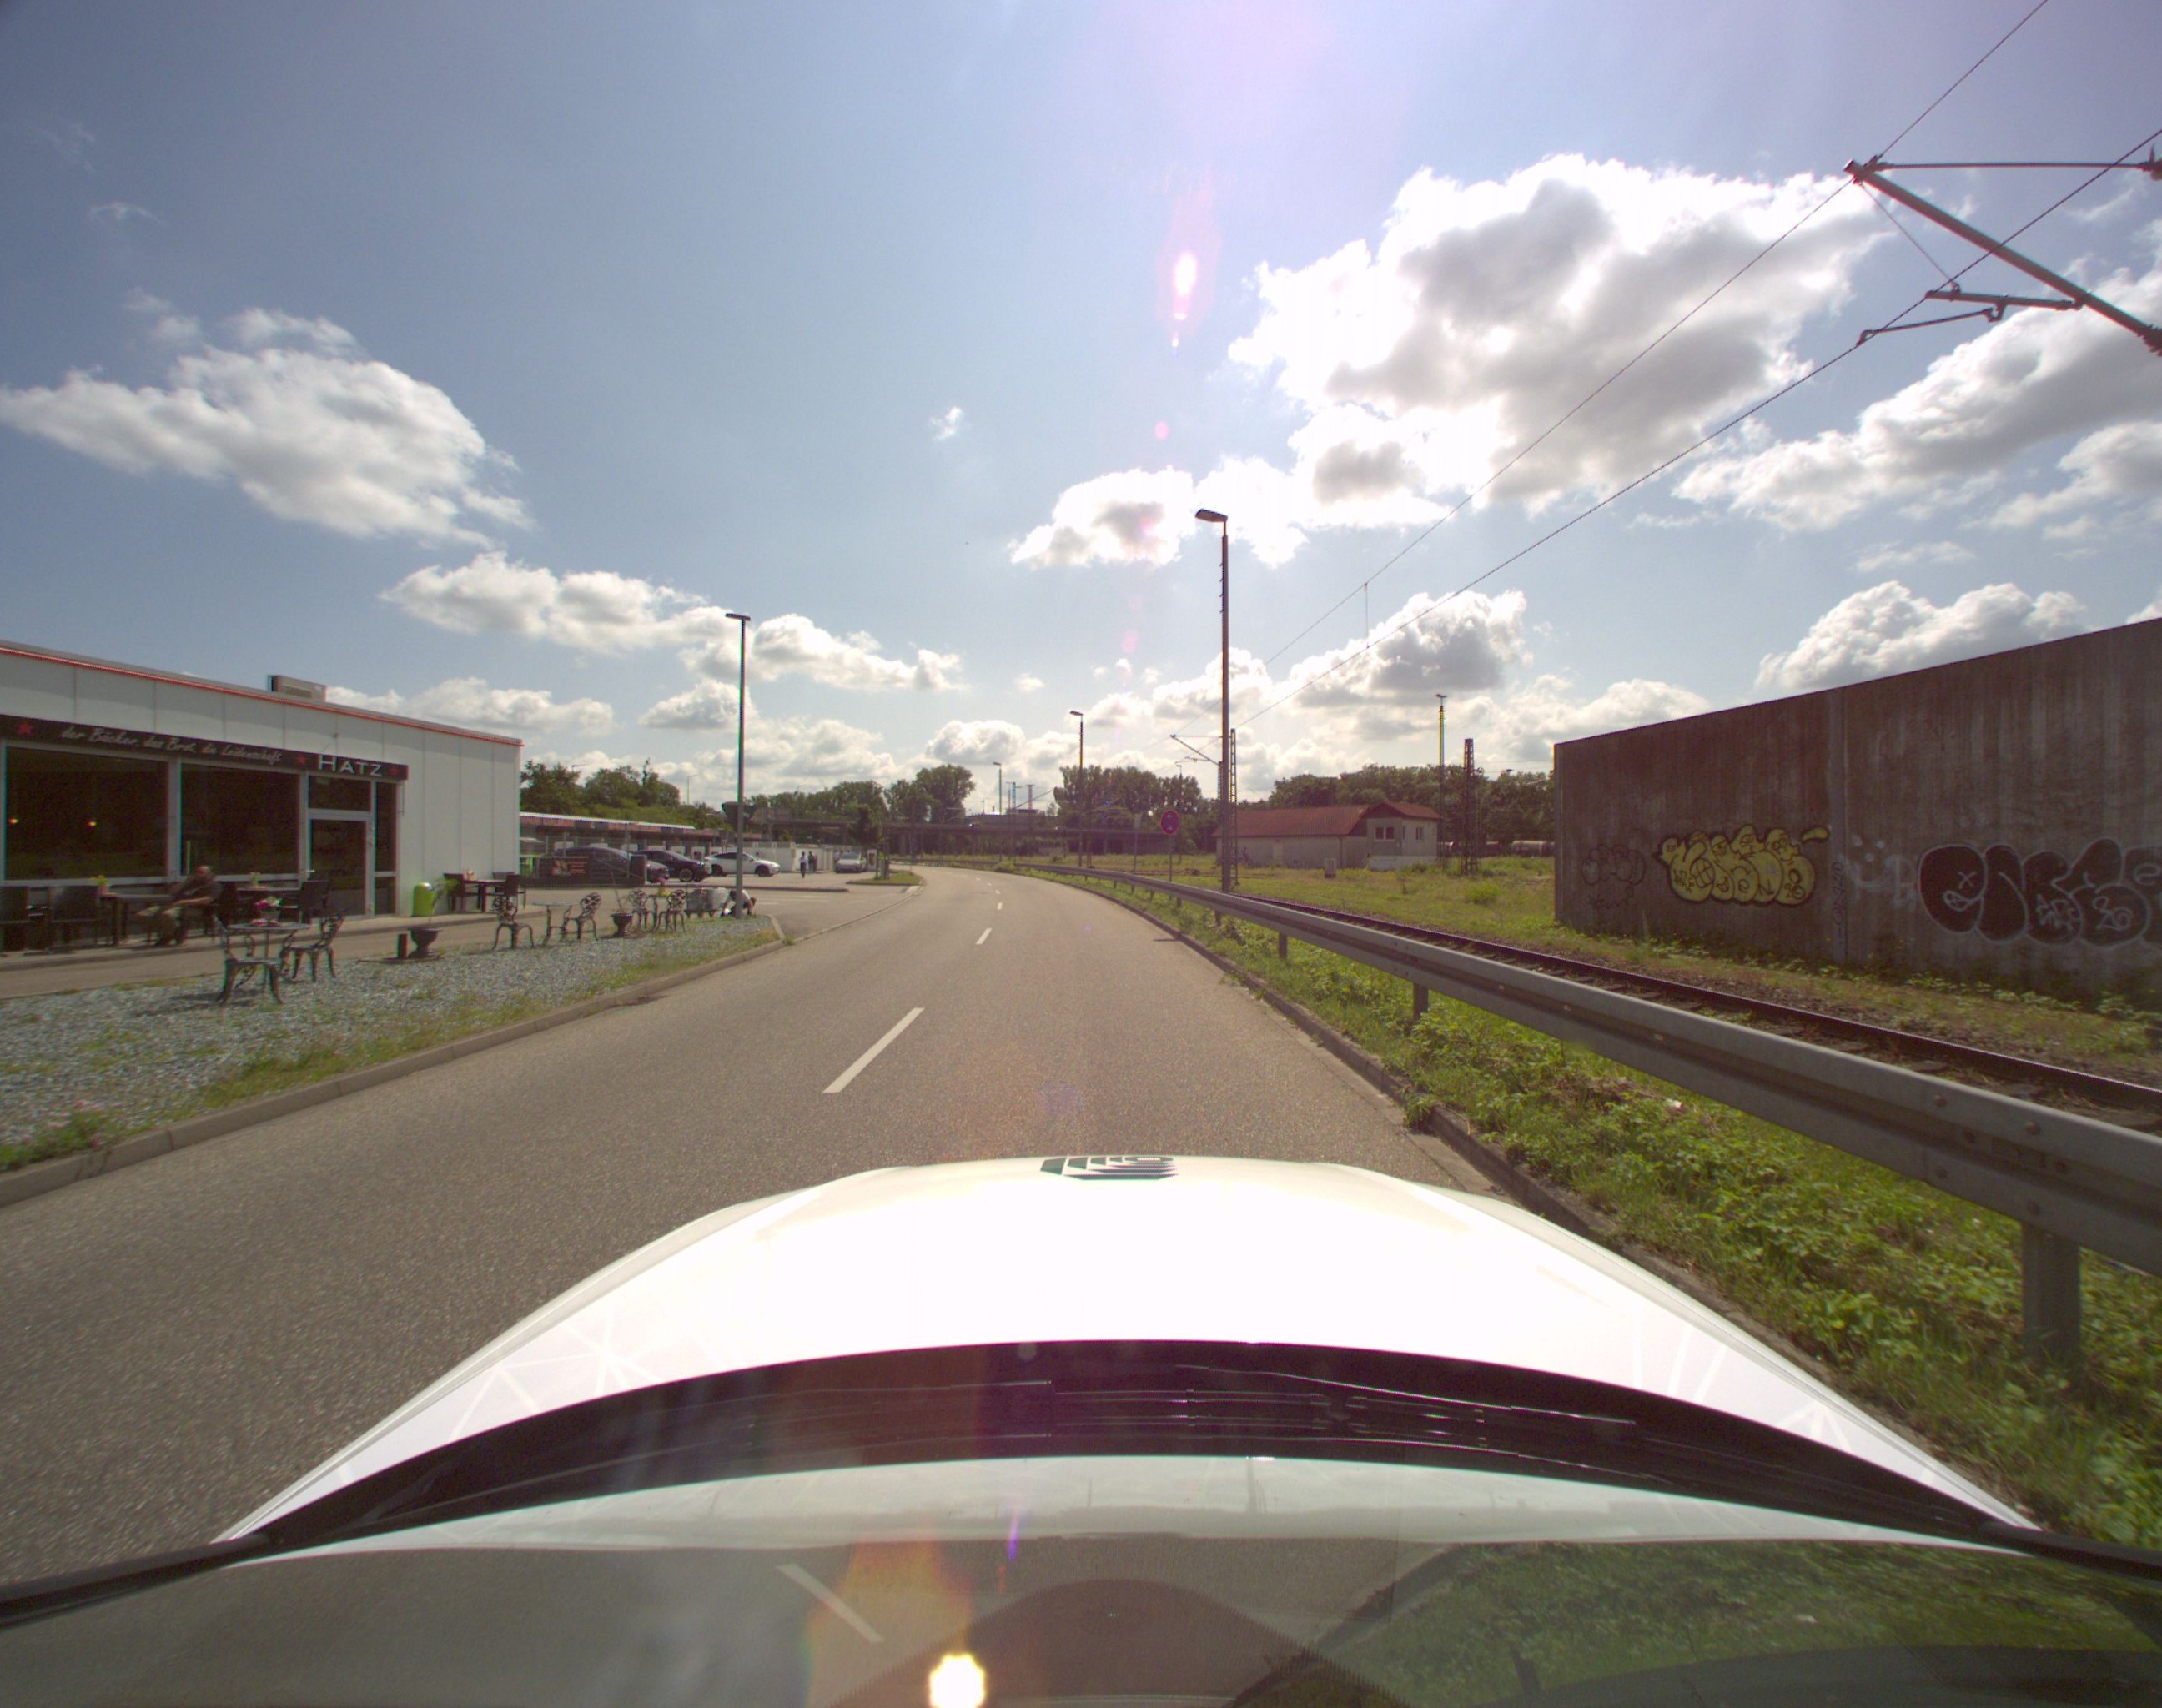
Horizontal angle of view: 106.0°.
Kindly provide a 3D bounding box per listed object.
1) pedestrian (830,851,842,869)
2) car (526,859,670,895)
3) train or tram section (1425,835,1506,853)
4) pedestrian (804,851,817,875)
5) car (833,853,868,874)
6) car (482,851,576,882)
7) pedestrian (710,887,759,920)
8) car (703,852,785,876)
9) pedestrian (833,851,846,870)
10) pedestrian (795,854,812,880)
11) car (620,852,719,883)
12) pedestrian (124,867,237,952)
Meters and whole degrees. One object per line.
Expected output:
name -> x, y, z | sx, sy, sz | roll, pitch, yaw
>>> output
pedestrian -> -20.742, 0.500, 68.973 | 0.749, 1.565, 0.718 | -1, -1, 39
car -> -20.428, 0.965, 34.659 | 4.745, 1.455, 2.230 | 0, 0, -10
train or tram section -> 73.109, -1.883, 155.307 | 13.763, 3.305, 3.053 | 1, 0, 42
pedestrian -> -20.226, 0.673, 60.858 | 0.863, 1.751, 0.724 | 0, -1, -15
car -> -18.528, 0.721, 65.738 | 1.928, 1.517, 4.765 | 0, 1, -6
car -> -27.404, 0.602, 40.634 | 1.912, 1.482, 4.293 | 0, 0, -4
pedestrian -> -8.628, 1.233, 20.312 | 0.859, 0.760, 0.818 | 1, 0, 1
car -> -21.737, 0.656, 52.688 | 4.550, 1.524, 1.993 | 0, -1, -10
pedestrian -> -20.329, 0.527, 68.621 | 0.704, 1.579, 0.726 | -1, -1, 31
pedestrian -> -17.418, 0.813, 51.086 | 0.862, 1.653, 0.938 | 0, -1, -9
car -> -20.639, 0.671, 41.008 | 3.984, 1.519, 1.994 | 0, -1, -8
pedestrian -> -14.123, 0.844, 12.800 | 0.749, 1.256, 0.900 | 0, 0, 4
